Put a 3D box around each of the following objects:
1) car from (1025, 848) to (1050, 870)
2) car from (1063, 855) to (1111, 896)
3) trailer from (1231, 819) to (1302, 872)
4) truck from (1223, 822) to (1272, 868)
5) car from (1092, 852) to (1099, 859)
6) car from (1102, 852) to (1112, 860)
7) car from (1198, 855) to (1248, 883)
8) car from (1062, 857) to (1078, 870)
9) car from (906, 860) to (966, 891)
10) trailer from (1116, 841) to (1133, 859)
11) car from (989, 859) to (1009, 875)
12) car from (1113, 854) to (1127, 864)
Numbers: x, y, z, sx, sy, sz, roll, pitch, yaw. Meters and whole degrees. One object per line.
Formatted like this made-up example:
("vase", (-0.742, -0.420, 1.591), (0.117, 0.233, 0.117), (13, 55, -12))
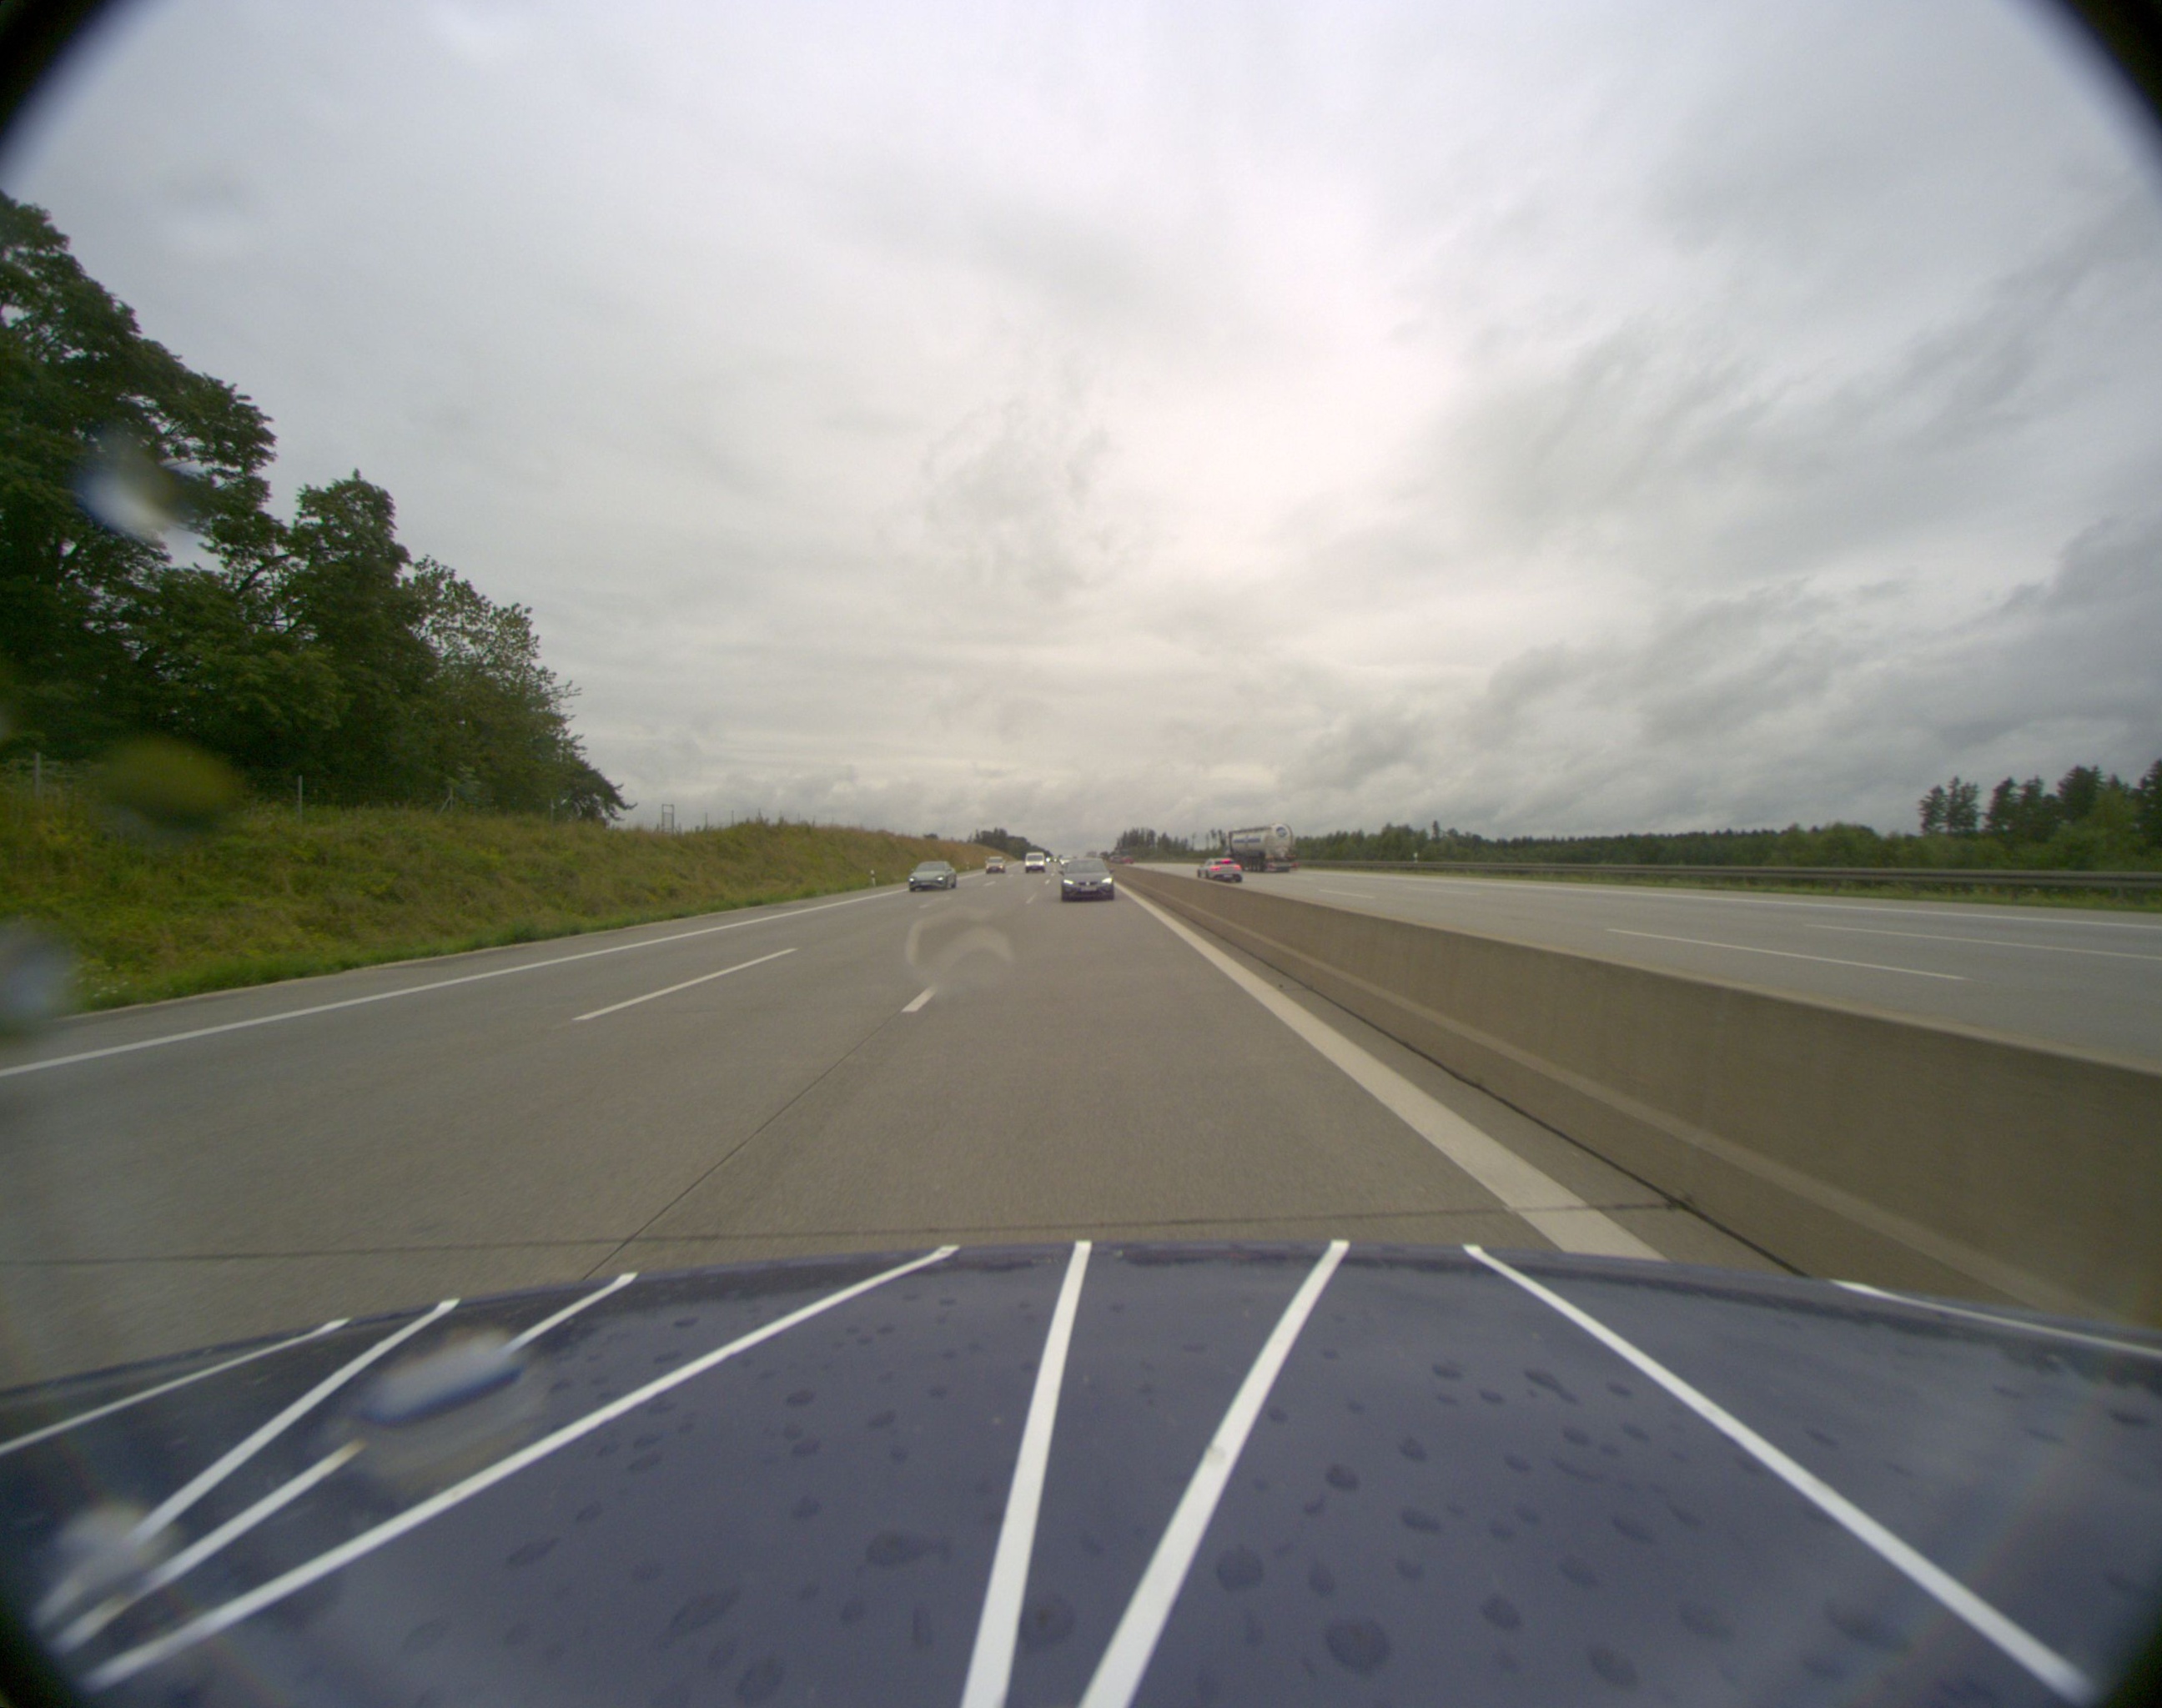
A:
("car", (-4.260, 0.533, 74.656), (2.043, 2.111, 6.068), (1, -1, 0))
("car", (0.264, 0.802, 30.817), (1.789, 1.472, 4.570), (-1, 0, 1))
("trailer", (15.479, -0.733, 64.556), (2.766, 3.975, 12.286), (-2, 1, -1))
("truck", (15.371, -0.785, 70.800), (2.754, 3.975, 6.928), (-2, 0, -2))
("car", (4.442, 0.429, 231.529), (1.999, 1.962, 5.330), (1, -1, -2))
("car", (5.463, 0.446, 160.939), (1.726, 1.578, 4.971), (0, -1, -2))
("car", (8.307, 0.882, 44.863), (1.999, 1.432, 4.767), (-3, -1, -1))
("car", (-1.375, 1.214, 99.972), (1.999, 1.632, 5.043), (1, -1, 0))
("car", (-7.540, 1.091, 40.009), (2.019, 1.437, 4.746), (-3, -1, 3))
("trailer", (10.981, -0.951, 192.312), (2.773, 4.256, 12.166), (-2, -1, -3))
("car", (-8.309, 1.343, 77.330), (1.790, 1.595, 4.570), (1, -1, -3))
("car", (6.120, 0.770, 119.845), (1.797, 1.408, 4.343), (-2, -1, -1))
